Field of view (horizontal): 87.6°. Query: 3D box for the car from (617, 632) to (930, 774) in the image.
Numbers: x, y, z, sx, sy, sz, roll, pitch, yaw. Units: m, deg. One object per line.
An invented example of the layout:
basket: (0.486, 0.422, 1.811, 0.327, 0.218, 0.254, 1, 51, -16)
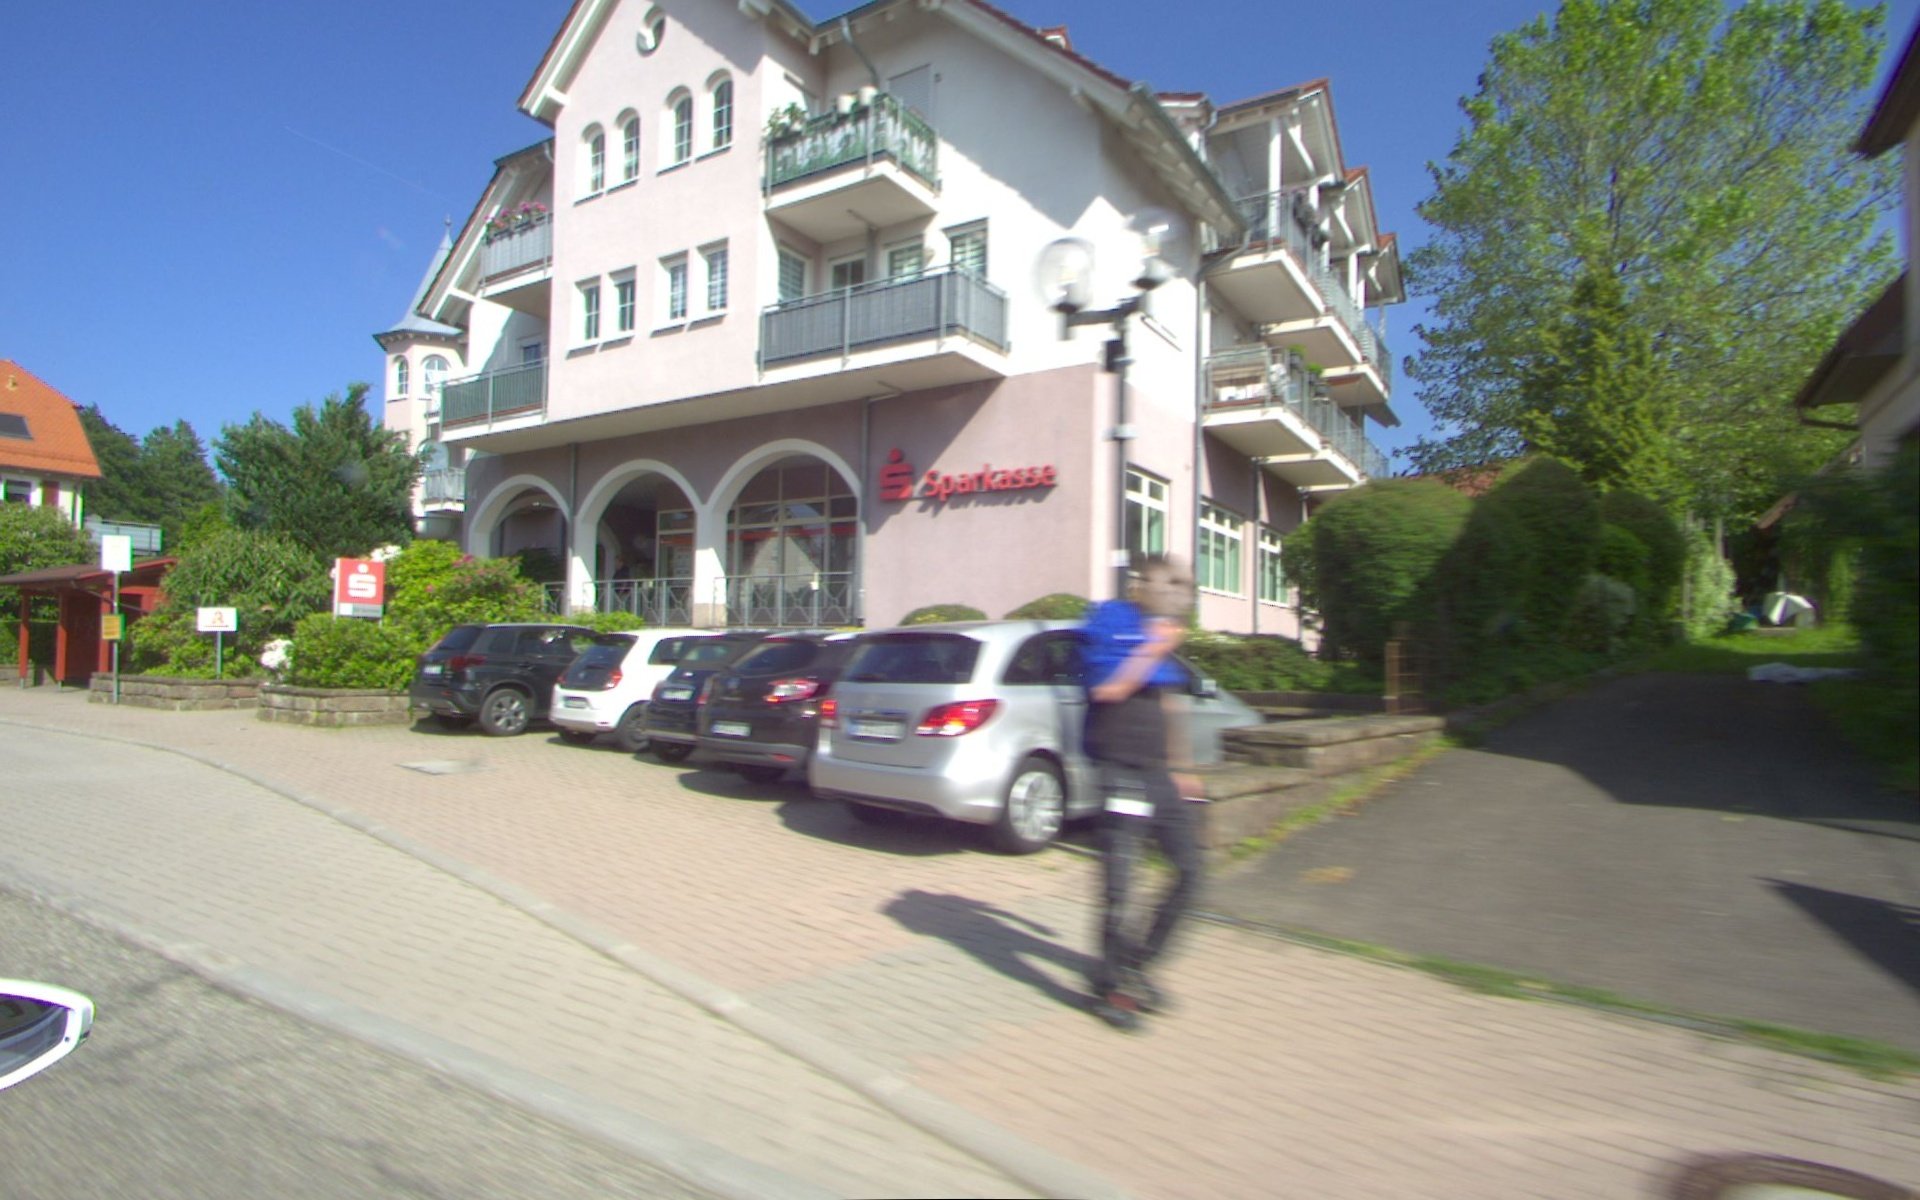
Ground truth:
car: (-2.124, 1.159, 12.137, 1.563, 1.436, 3.545, 0, -3, 39)

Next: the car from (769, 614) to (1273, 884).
car: (0.654, 0.944, 7.927, 1.943, 1.578, 3.840, 0, -2, 45)

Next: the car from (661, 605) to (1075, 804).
car: (-0.734, 0.945, 9.978, 1.719, 1.568, 3.969, 0, -3, 42)

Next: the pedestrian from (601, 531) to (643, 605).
pedestrian: (-8.035, -0.751, 23.809, 0.746, 1.746, 0.610, 2, 2, 35)

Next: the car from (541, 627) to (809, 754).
car: (-3.817, 1.127, 13.744, 1.609, 1.488, 3.220, 0, -1, 39)

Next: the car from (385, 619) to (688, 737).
car: (-6.388, 1.088, 15.504, 1.855, 1.568, 3.977, 0, -1, 34)

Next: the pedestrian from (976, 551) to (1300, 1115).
pedestrian: (0.687, 0.759, 3.830, 0.967, 1.807, 0.797, 0, 0, 37)
